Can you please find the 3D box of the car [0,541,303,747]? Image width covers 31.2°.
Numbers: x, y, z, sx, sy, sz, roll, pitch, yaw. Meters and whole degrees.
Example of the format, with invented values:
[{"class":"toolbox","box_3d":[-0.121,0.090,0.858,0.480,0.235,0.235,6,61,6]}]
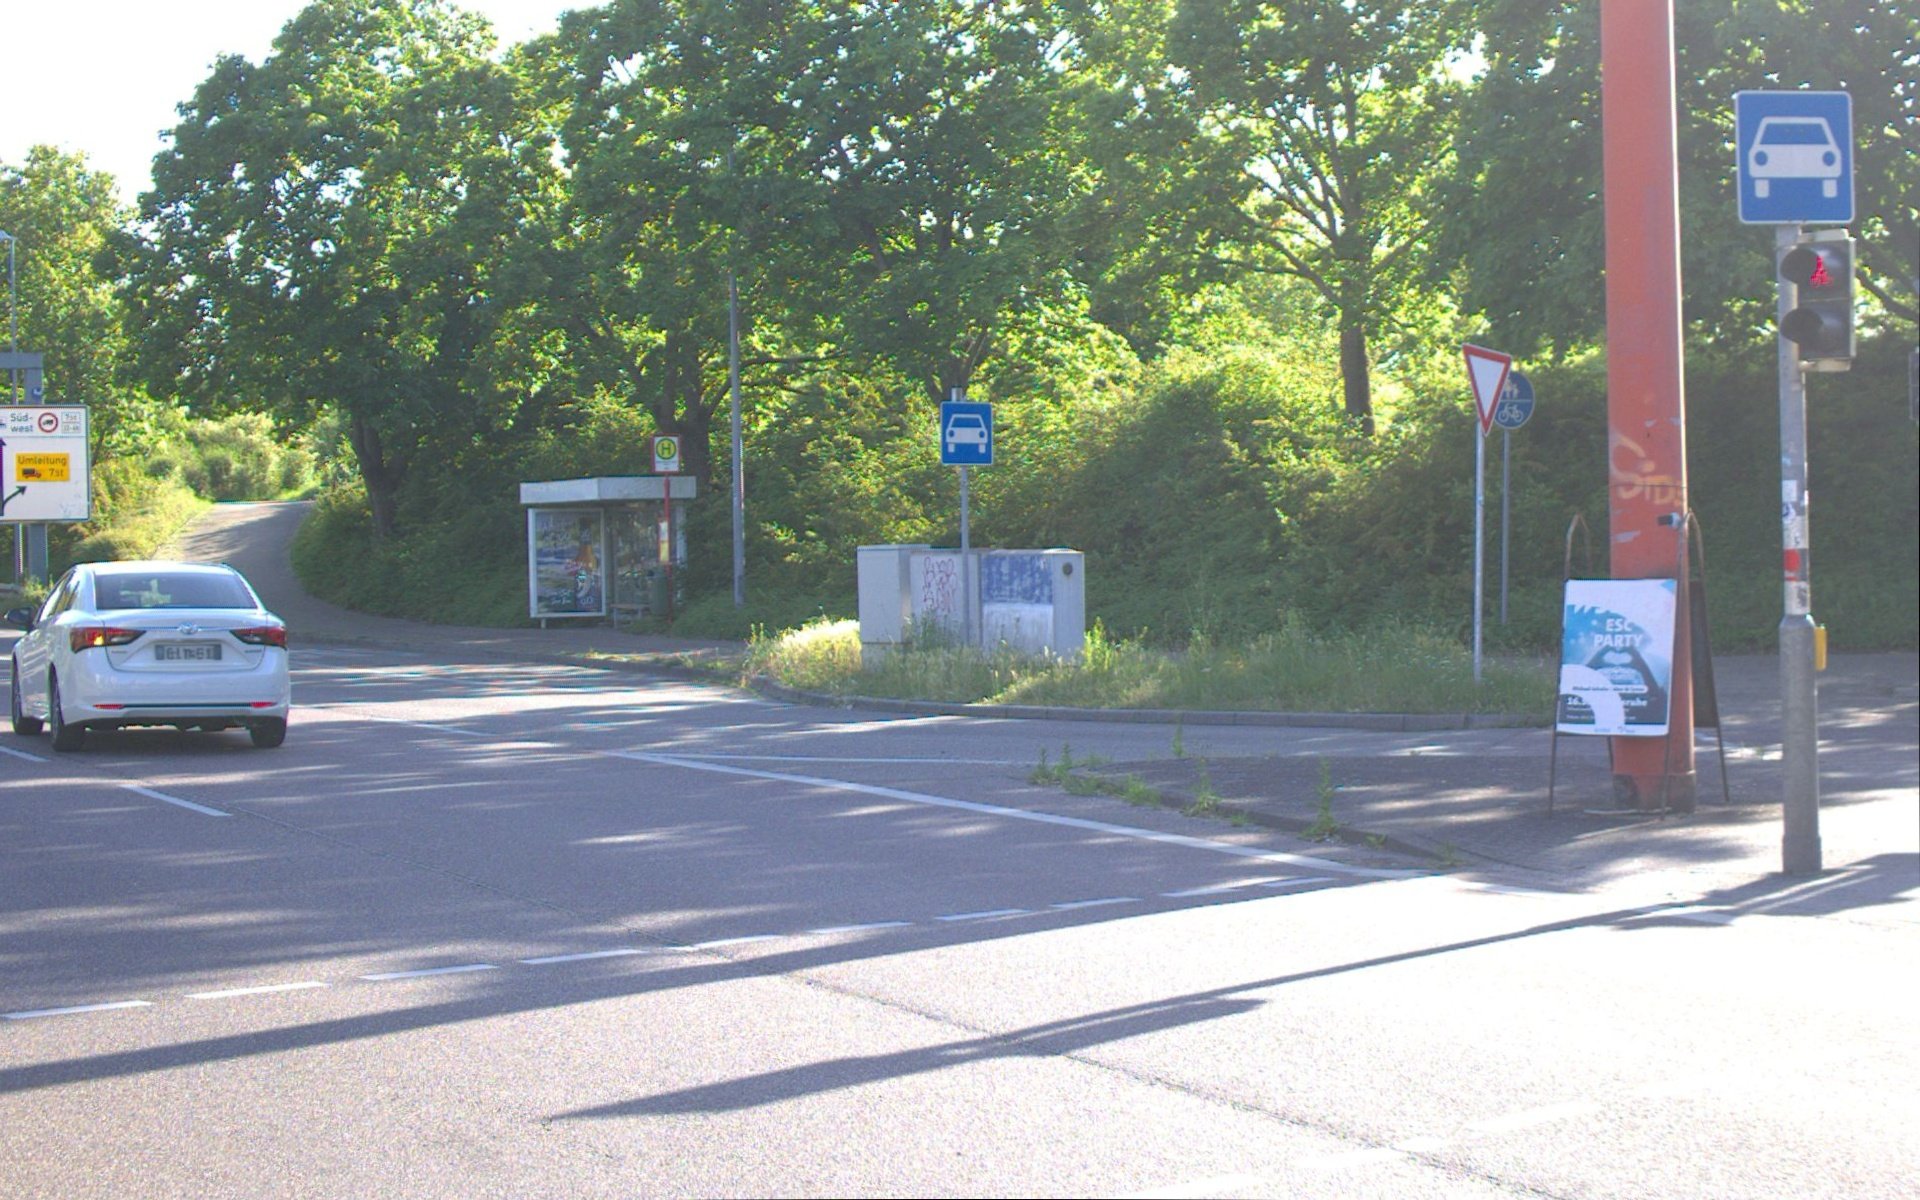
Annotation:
[{"class":"car","box_3d":[-6.635,0.285,27.841,1.767,1.459,4.367,-2,2,-22]}]
